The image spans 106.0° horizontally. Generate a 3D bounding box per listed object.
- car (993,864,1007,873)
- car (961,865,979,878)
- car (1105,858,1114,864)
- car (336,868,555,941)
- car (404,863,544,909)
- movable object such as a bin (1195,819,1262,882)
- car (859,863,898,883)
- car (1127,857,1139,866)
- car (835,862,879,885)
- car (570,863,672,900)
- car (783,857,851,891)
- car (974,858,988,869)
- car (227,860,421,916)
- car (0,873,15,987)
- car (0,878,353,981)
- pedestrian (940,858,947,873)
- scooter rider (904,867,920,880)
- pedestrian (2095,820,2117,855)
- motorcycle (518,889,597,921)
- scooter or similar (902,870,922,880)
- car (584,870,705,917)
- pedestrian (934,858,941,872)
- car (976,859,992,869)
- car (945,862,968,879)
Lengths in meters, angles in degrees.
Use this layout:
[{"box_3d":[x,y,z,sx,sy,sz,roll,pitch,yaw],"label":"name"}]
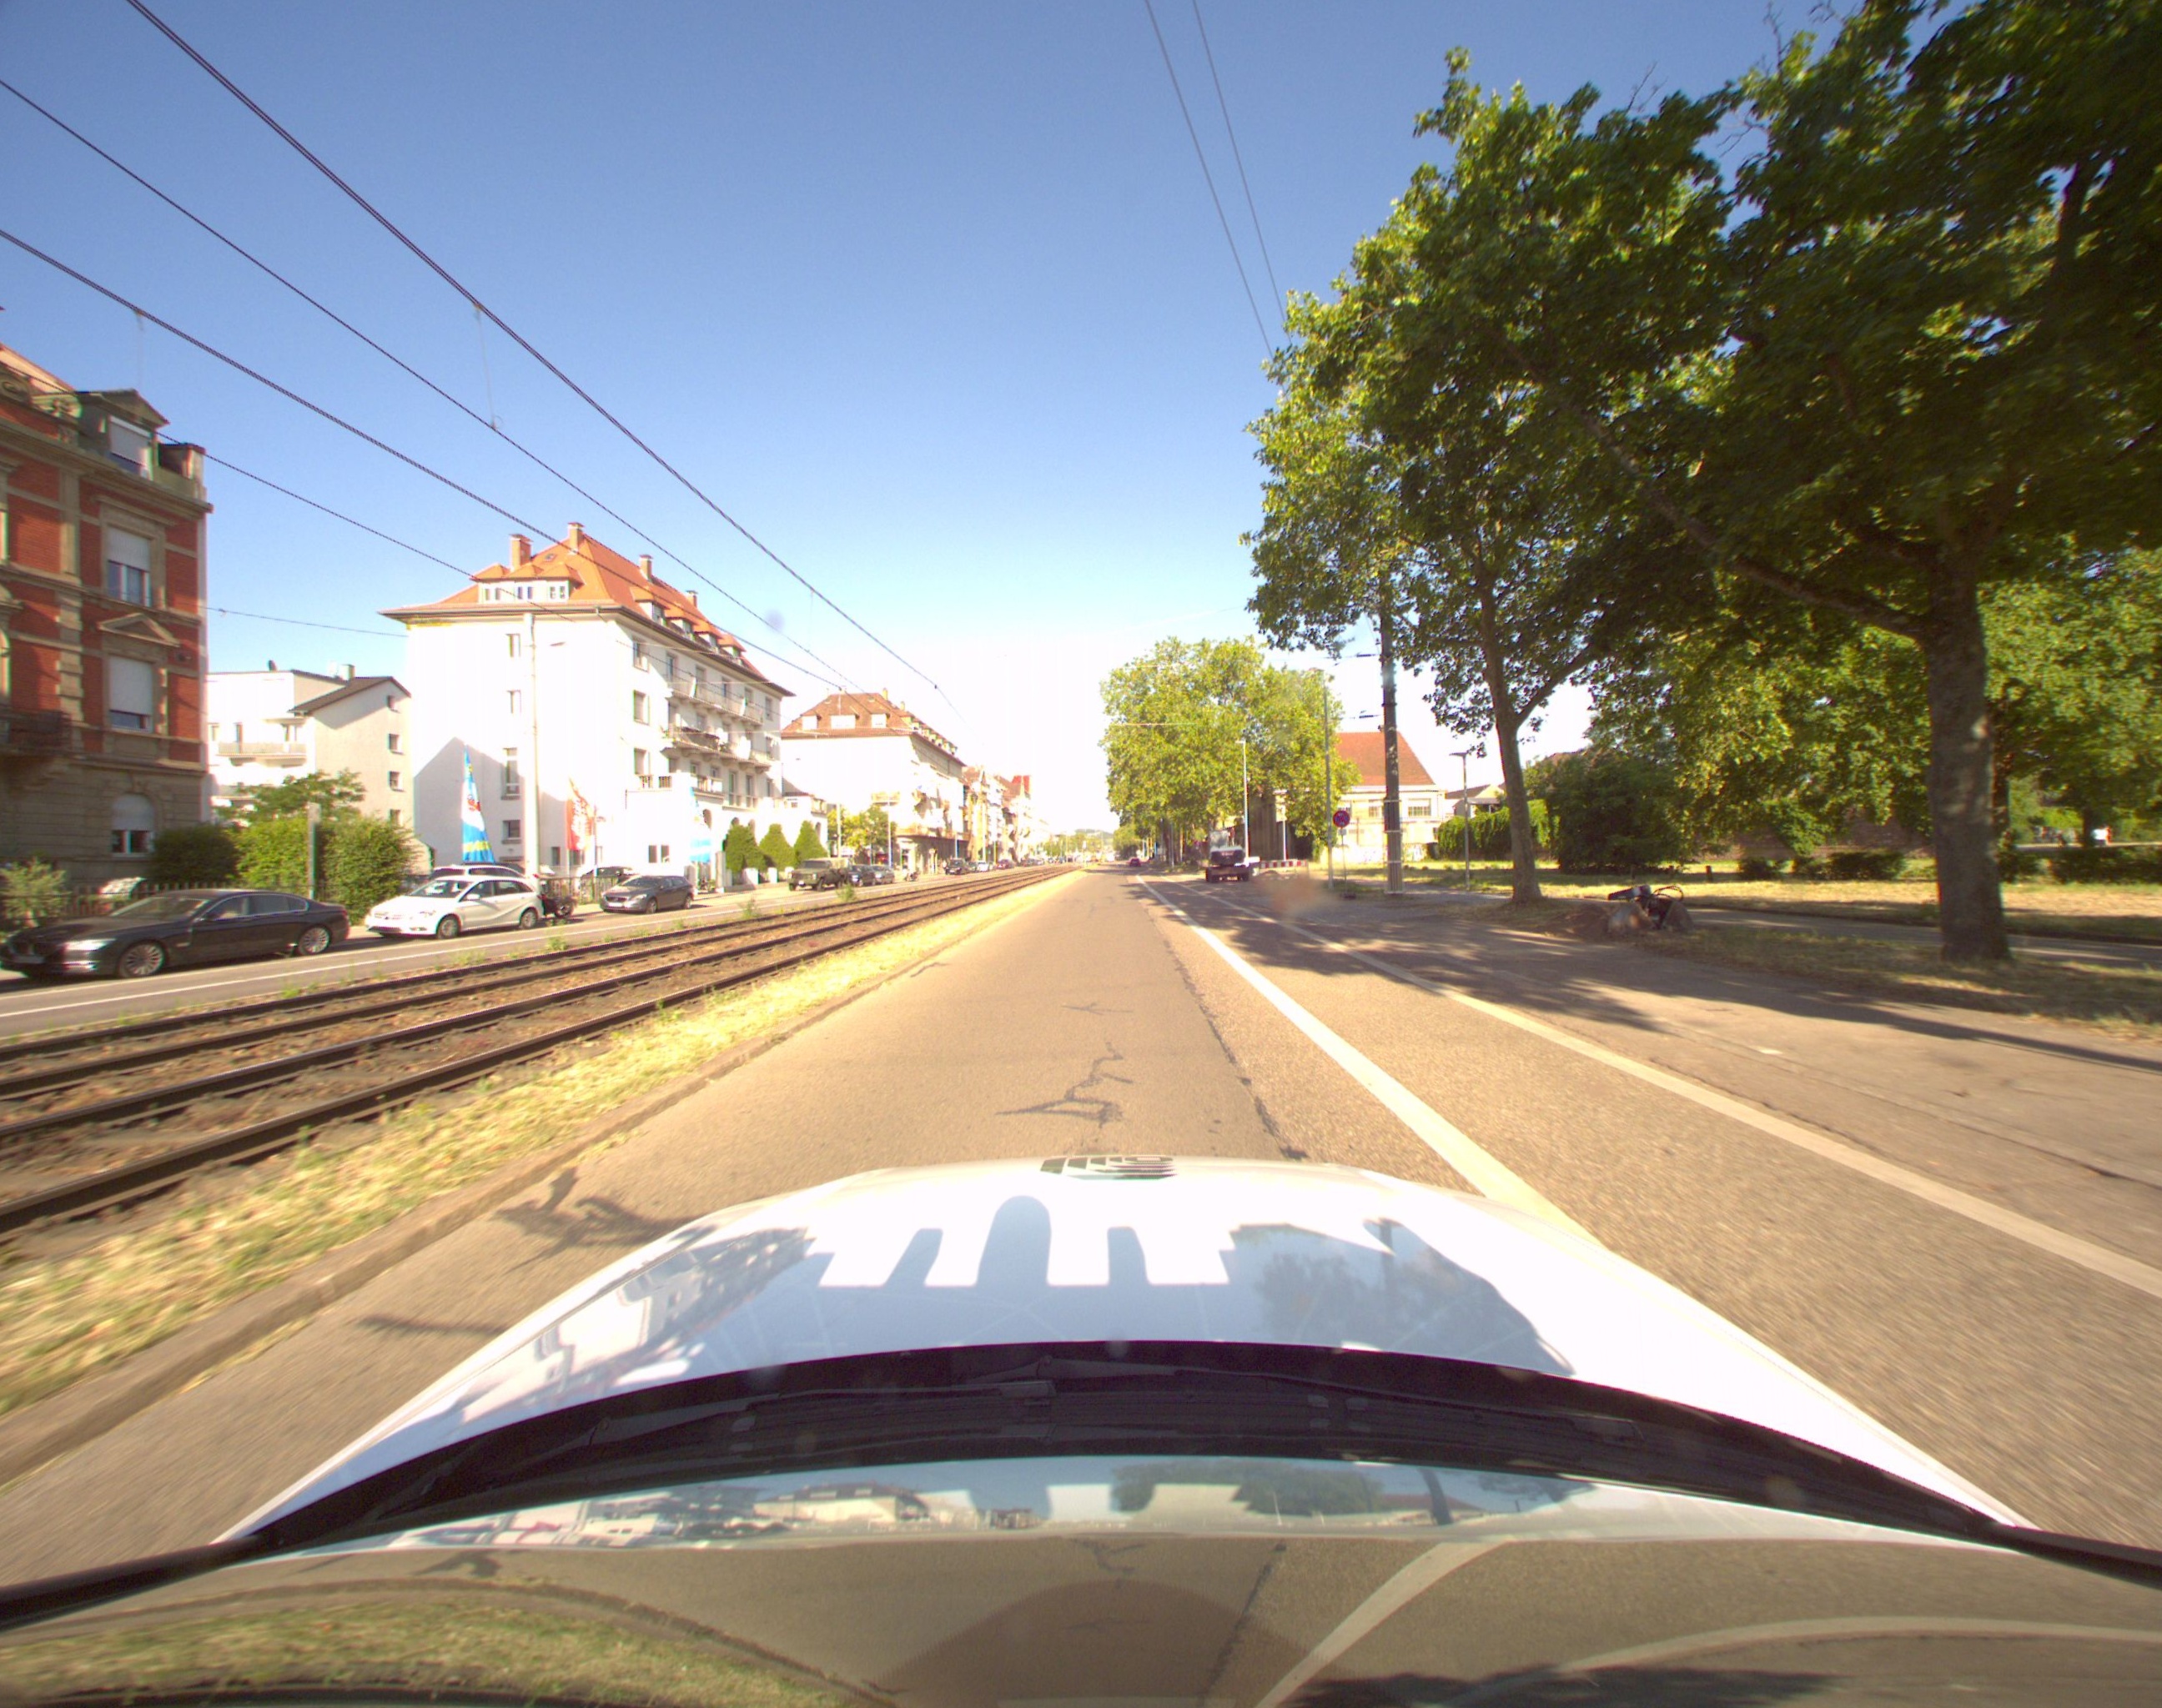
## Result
[{"box_3d":[-13.068,2.293,131.593,1.829,1.391,4.032,2,-1,-2],"label":"car"},{"box_3d":[-14.269,2.249,104.736,1.629,1.469,4.160,2,0,2],"label":"car"},{"box_3d":[8.020,1.966,229.745,1.795,1.510,3.983,1,-1,-12],"label":"car"},{"box_3d":[-17.097,1.263,22.318,1.912,1.694,4.848,0,0,4],"label":"car"},{"box_3d":[-24.255,1.278,32.803,1.894,1.655,4.569,-2,-2,6],"label":"car"},{"box_3d":[8.355,-0.177,47.002,2.733,3.145,7.225,-5,0,3],"label":"movable object such as a bin"},{"box_3d":[-15.496,1.449,62.464,1.786,1.510,4.004,0,-1,4],"label":"car"},{"box_3d":[8.485,1.278,132.568,1.826,1.391,4.160,-1,0,2],"label":"car"},{"box_3d":[-15.646,1.353,56.982,1.628,1.507,4.163,0,-1,4],"label":"car"},{"box_3d":[-22.947,1.361,40.685,4.101,1.633,1.958,-2,1,11],"label":"car"},{"box_3d":[-16.358,1.197,50.836,2.068,2.010,5.598,0,0,4],"label":"car"},{"box_3d":[-13.548,1.345,110.572,1.632,1.469,3.978,-1,-1,-3],"label":"car"},{"box_3d":[-24.844,1.108,27.015,1.894,1.655,4.569,-2,-2,6],"label":"car"},{"box_3d":[-17.800,1.180,10.614,1.915,1.781,4.495,0,0,-2],"label":"car"},{"box_3d":[-17.530,1.328,16.021,1.913,1.561,4.845,0,0,3],"label":"car"},{"box_3d":[-16.628,1.390,98.485,0.586,1.697,0.858,0,-1,4],"label":"pedestrian"},{"box_3d":[-14.444,1.651,69.618,0.966,1.089,0.813,-2,0,33],"label":"scooter rider"},{"box_3d":[41.584,-0.671,33.042,0.578,1.419,0.344,-2,-1,-20],"label":"pedestrian"},{"box_3d":[-17.303,1.681,26.970,0.820,0.954,2.160,0,-1,16],"label":"motorcycle"},{"box_3d":[-14.474,1.820,69.637,1.549,0.770,0.813,-2,0,33],"label":"scooter or similar"},{"box_3d":[-16.698,1.446,31.512,1.914,1.461,4.842,4,0,1],"label":"car"},{"box_3d":[-17.329,1.385,98.537,0.586,1.697,0.858,0,-1,4],"label":"pedestrian"},{"box_3d":[-14.261,1.468,119.654,1.628,1.469,4.162,0,0,3],"label":"car"},{"box_3d":[-14.350,1.863,93.873,1.855,1.786,4.403,0,0,1],"label":"car"}]
